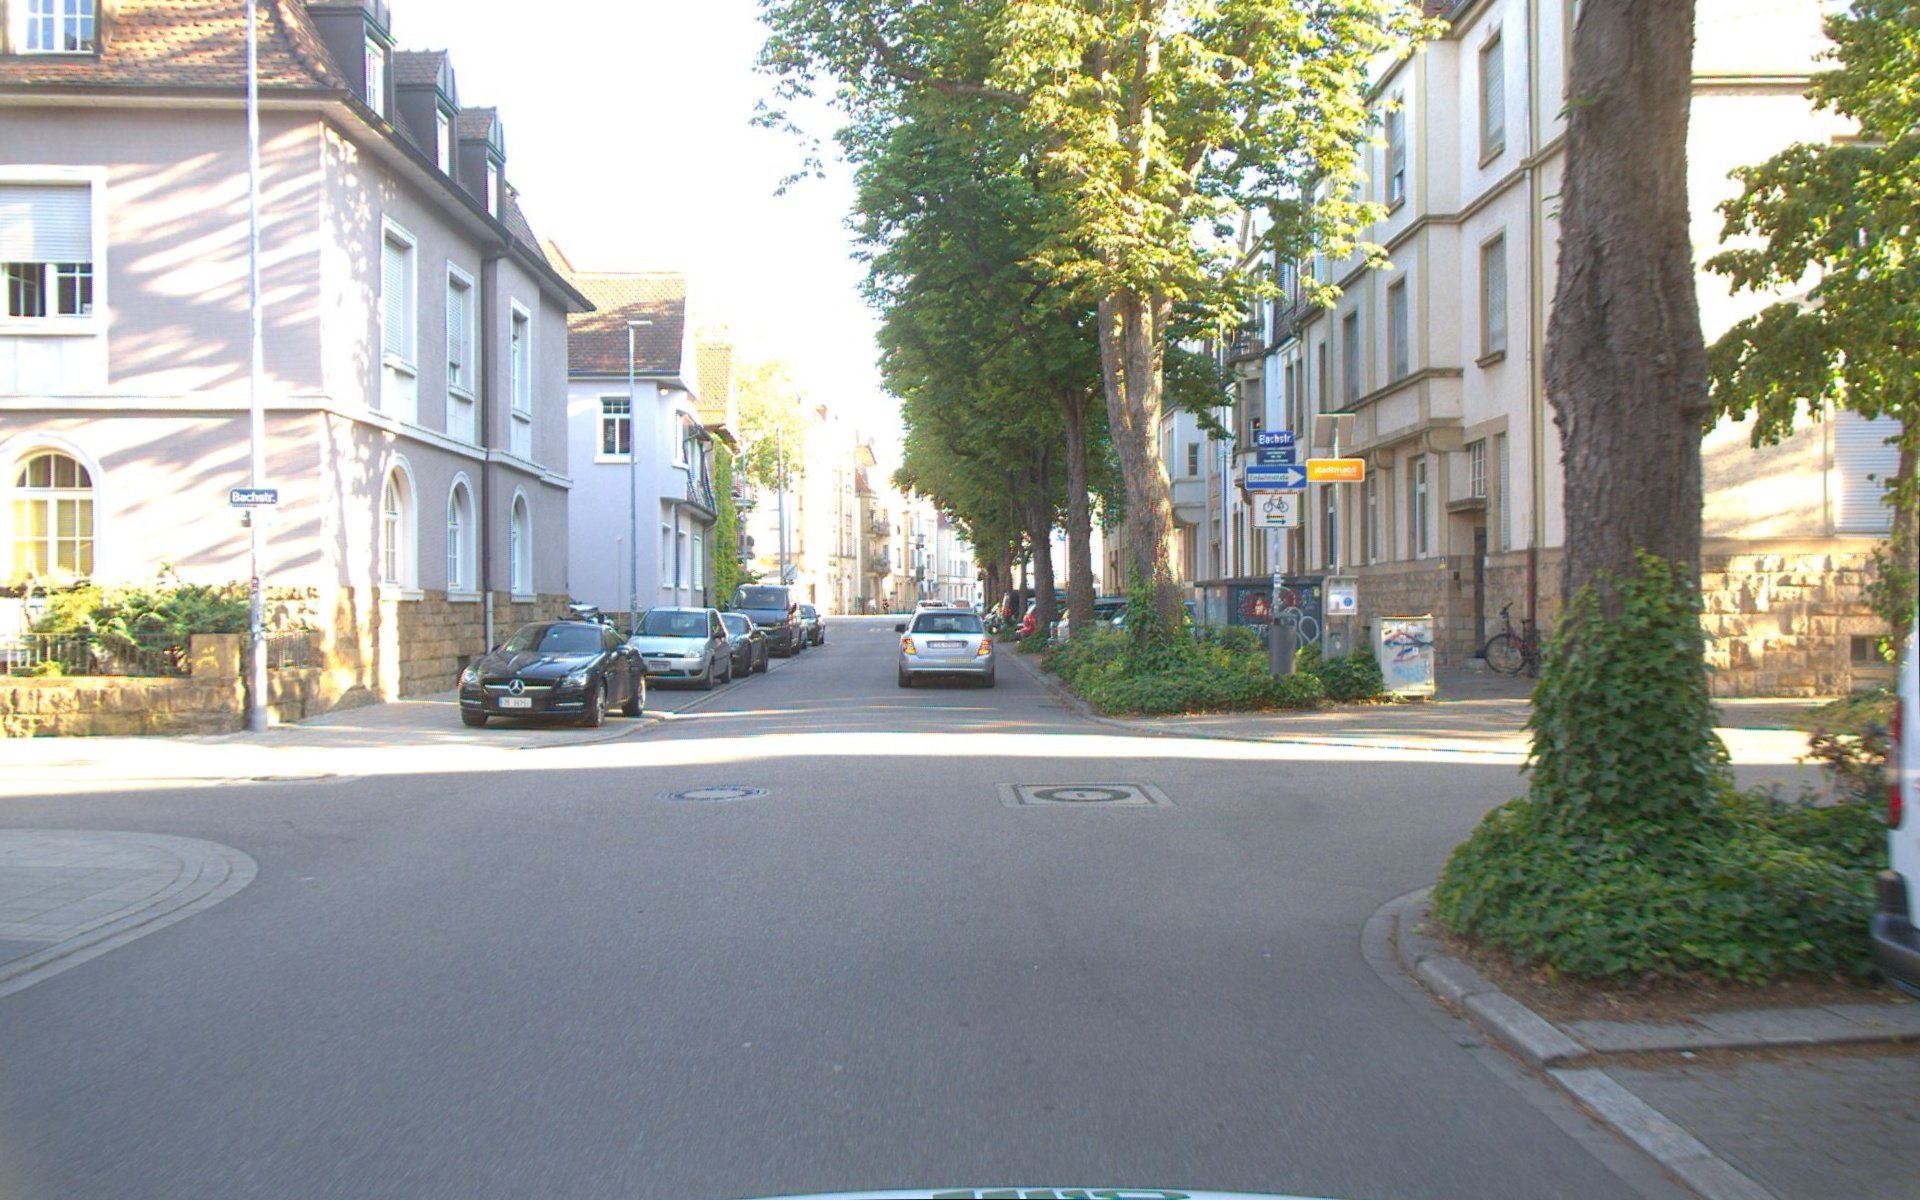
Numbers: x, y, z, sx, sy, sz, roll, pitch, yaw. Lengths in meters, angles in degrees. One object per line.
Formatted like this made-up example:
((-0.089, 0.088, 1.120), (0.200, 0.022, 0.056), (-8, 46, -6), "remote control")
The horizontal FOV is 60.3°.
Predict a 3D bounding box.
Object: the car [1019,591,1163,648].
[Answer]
((3.834, 0.572, 49.027), (4.103, 1.501, 1.852), (-2, 0, 1), "car")

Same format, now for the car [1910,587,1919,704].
((12.642, 0.579, 18.232), (1.747, 1.433, 4.468), (-1, 1, -1), "car")

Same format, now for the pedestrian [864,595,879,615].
((-7.954, 0.472, 148.521), (1.195, 1.752, 1.503), (1, 0, 2), "pedestrian")

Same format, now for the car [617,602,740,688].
((-5.222, 0.792, 31.095), (1.620, 1.471, 3.960), (1, 0, 0), "car")

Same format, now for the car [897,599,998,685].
((-0.229, 0.743, 30.594), (1.747, 1.462, 3.850), (1, -1, 0), "car")

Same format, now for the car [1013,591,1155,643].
((3.868, 0.537, 52.017), (4.320, 1.444, 1.877), (-2, 0, 1), "car")

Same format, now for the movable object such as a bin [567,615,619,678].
((-8.038, 0.997, 36.294), (0.707, 1.306, 2.096), (0, 0, -1), "movable object such as a bin")

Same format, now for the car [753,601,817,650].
((-5.617, 0.791, 53.397), (1.620, 1.472, 4.236), (1, 0, -1), "car")

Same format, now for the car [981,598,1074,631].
((3.161, 0.671, 77.794), (4.203, 1.442, 1.876), (-2, 0, -3), "car")

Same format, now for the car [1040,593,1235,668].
((3.930, 0.670, 36.944), (4.067, 1.604, 1.710), (0, 0, -6), "car")

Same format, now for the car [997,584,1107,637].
((3.626, 0.407, 65.619), (4.136, 1.929, 1.904), (-2, 0, -3), "car")

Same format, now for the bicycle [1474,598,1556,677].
((8.993, 0.584, 26.868), (0.573, 1.233, 1.956), (0, 0, -3), "bicycle")

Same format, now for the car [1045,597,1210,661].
((3.941, 0.670, 39.378), (3.716, 1.463, 1.817), (0, 0, -1), "car")

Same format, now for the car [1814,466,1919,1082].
((4.970, 0.455, 4.509), (4.227, 1.838, 1.999), (-2, 0, -2), "car")

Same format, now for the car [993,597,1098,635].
((3.516, 0.646, 68.534), (4.203, 1.568, 1.876), (0, 0, -4), "car")

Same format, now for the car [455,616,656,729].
((-5.345, 0.905, 22.338), (1.619, 1.347, 4.046), (1, 0, 1), "car")

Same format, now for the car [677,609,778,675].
((-5.047, 0.882, 36.336), (1.499, 1.342, 4.227), (1, 0, 2), "car")

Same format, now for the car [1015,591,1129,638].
((4.100, 0.532, 60.929), (4.027, 1.599, 1.876), (-2, 0, -1), "car")

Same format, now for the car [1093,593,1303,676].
((4.575, 0.649, 32.092), (3.720, 1.463, 1.747), (-1, 0, -6), "car")

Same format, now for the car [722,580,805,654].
((-5.603, 0.456, 47.670), (1.942, 1.981, 4.849), (1, 0, -2), "car")

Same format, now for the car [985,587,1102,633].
((3.643, 0.430, 72.876), (4.953, 2.024, 2.071), (0, 0, -4), "car")

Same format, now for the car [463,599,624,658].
((-10.670, 0.709, 42.586), (3.788, 1.469, 1.633), (0, 0, -5), "car")

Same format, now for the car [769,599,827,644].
((-5.697, 0.738, 58.712), (1.660, 1.472, 4.357), (1, 0, -1), "car")

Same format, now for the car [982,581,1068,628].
((3.338, 0.227, 85.718), (4.301, 2.405, 1.999), (0, 0, -3), "car")

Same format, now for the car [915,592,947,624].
((-1.447, 0.386, 84.189), (1.590, 1.597, 3.680), (0, 0, 0), "car")
